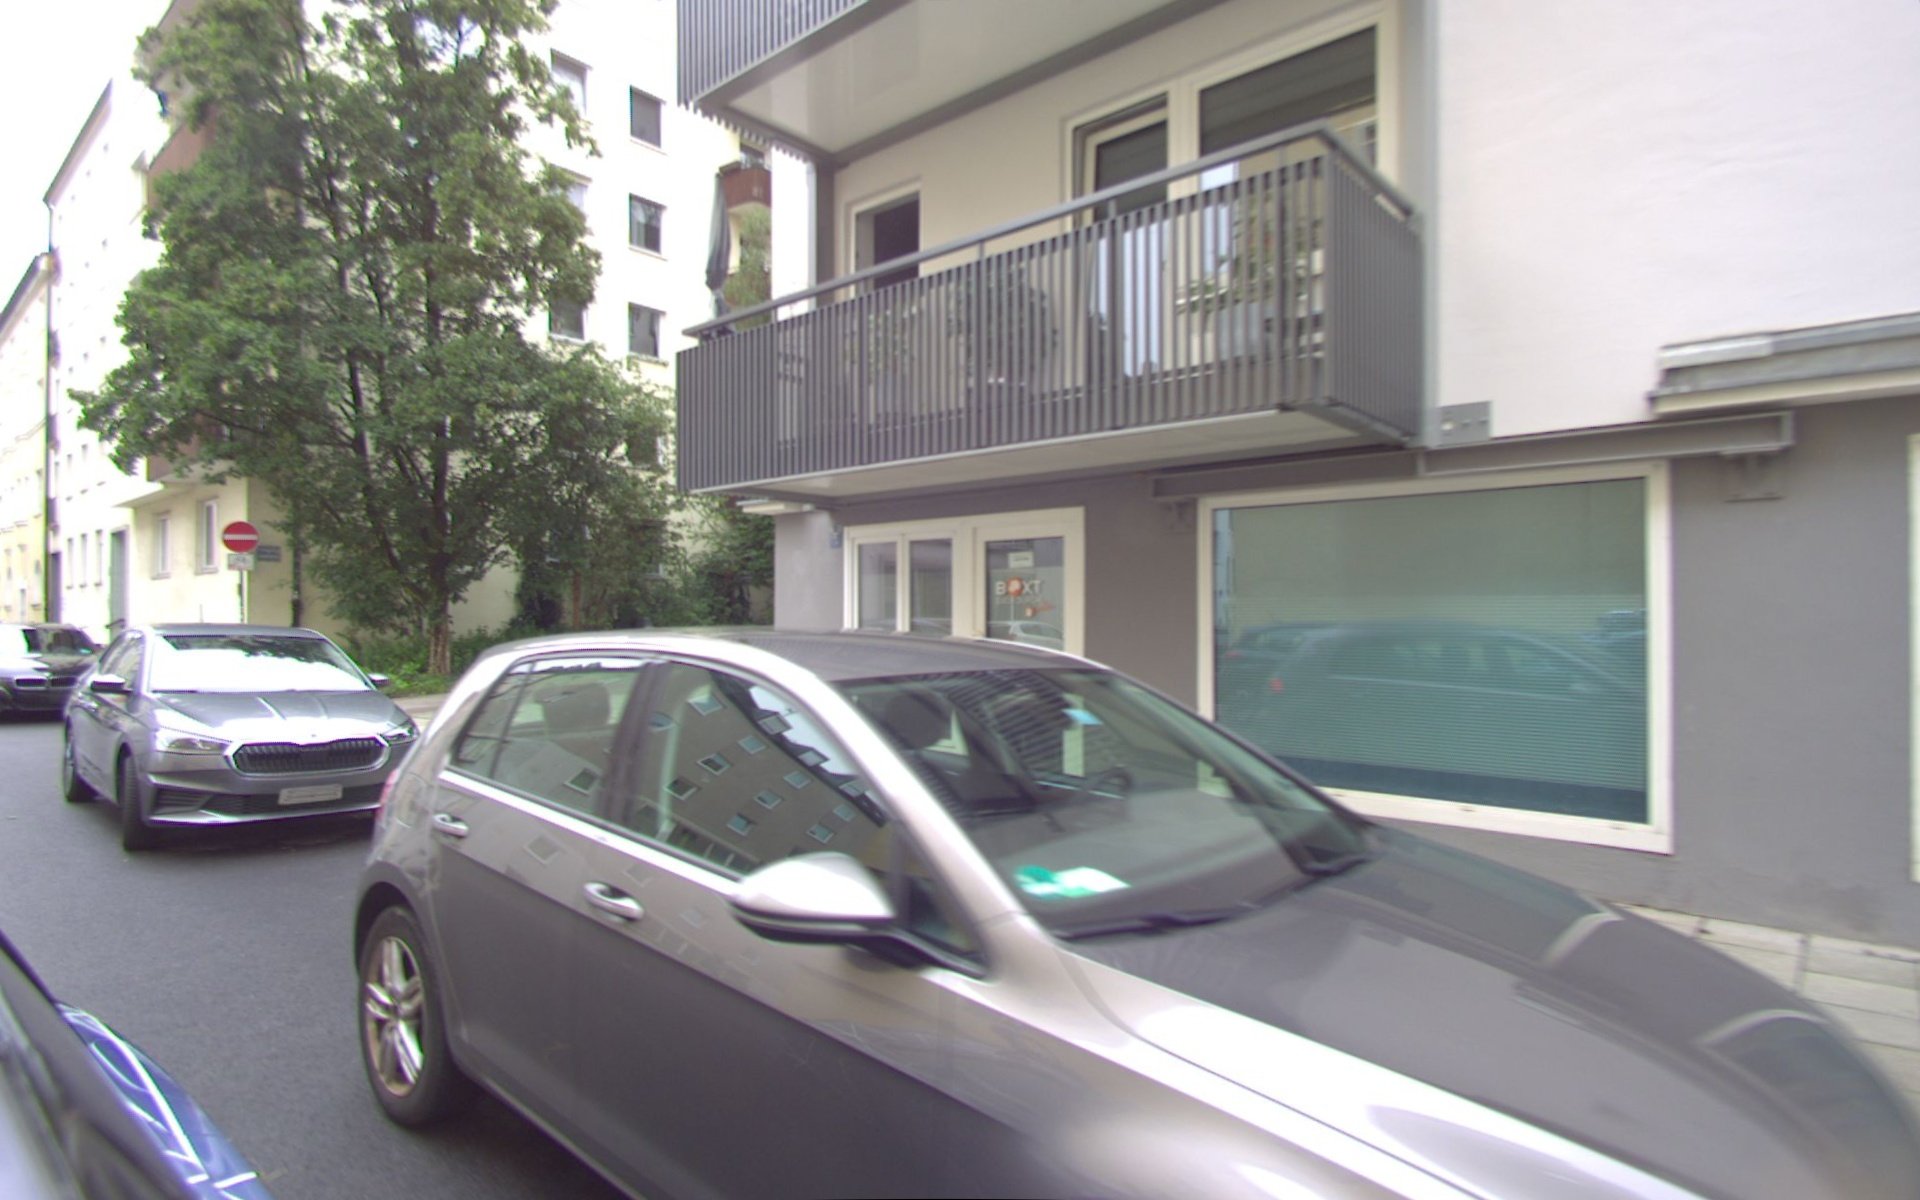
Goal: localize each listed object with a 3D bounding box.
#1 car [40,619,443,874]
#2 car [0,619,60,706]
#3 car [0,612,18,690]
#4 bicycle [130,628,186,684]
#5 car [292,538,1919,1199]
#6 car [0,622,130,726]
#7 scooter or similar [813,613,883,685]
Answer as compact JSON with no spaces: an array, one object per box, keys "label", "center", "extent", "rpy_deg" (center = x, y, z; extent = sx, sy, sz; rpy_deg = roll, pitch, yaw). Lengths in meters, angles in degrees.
[{"label":"car","center":[-5.624,0.891,7.736],"extent":[3.941,1.453,1.675],"rpy_deg":[-1,-3,42]},{"label":"car","center":[-18.445,1.122,19.083],"extent":[4.423,1.494,1.747],"rpy_deg":[-1,-2,43]},{"label":"car","center":[-22.616,1.093,22.645],"extent":[4.364,1.688,1.747],"rpy_deg":[-1,-2,41]},{"label":"bicycle","center":[-17.694,1.219,22.305],"extent":[1.788,1.170,0.638],"rpy_deg":[-1,-3,42]},{"label":"car","center":[-0.027,0.729,2.540],"extent":[3.974,1.453,1.676],"rpy_deg":[-1,-2,40]},{"label":"car","center":[-14.450,1.066,15.652],"extent":[4.382,1.419,1.836],"rpy_deg":[-1,-3,42]},{"label":"scooter or similar","center":[-1.982,0.854,17.747],"extent":[0.317,1.212,1.571],"rpy_deg":[1,-2,-44]}]
